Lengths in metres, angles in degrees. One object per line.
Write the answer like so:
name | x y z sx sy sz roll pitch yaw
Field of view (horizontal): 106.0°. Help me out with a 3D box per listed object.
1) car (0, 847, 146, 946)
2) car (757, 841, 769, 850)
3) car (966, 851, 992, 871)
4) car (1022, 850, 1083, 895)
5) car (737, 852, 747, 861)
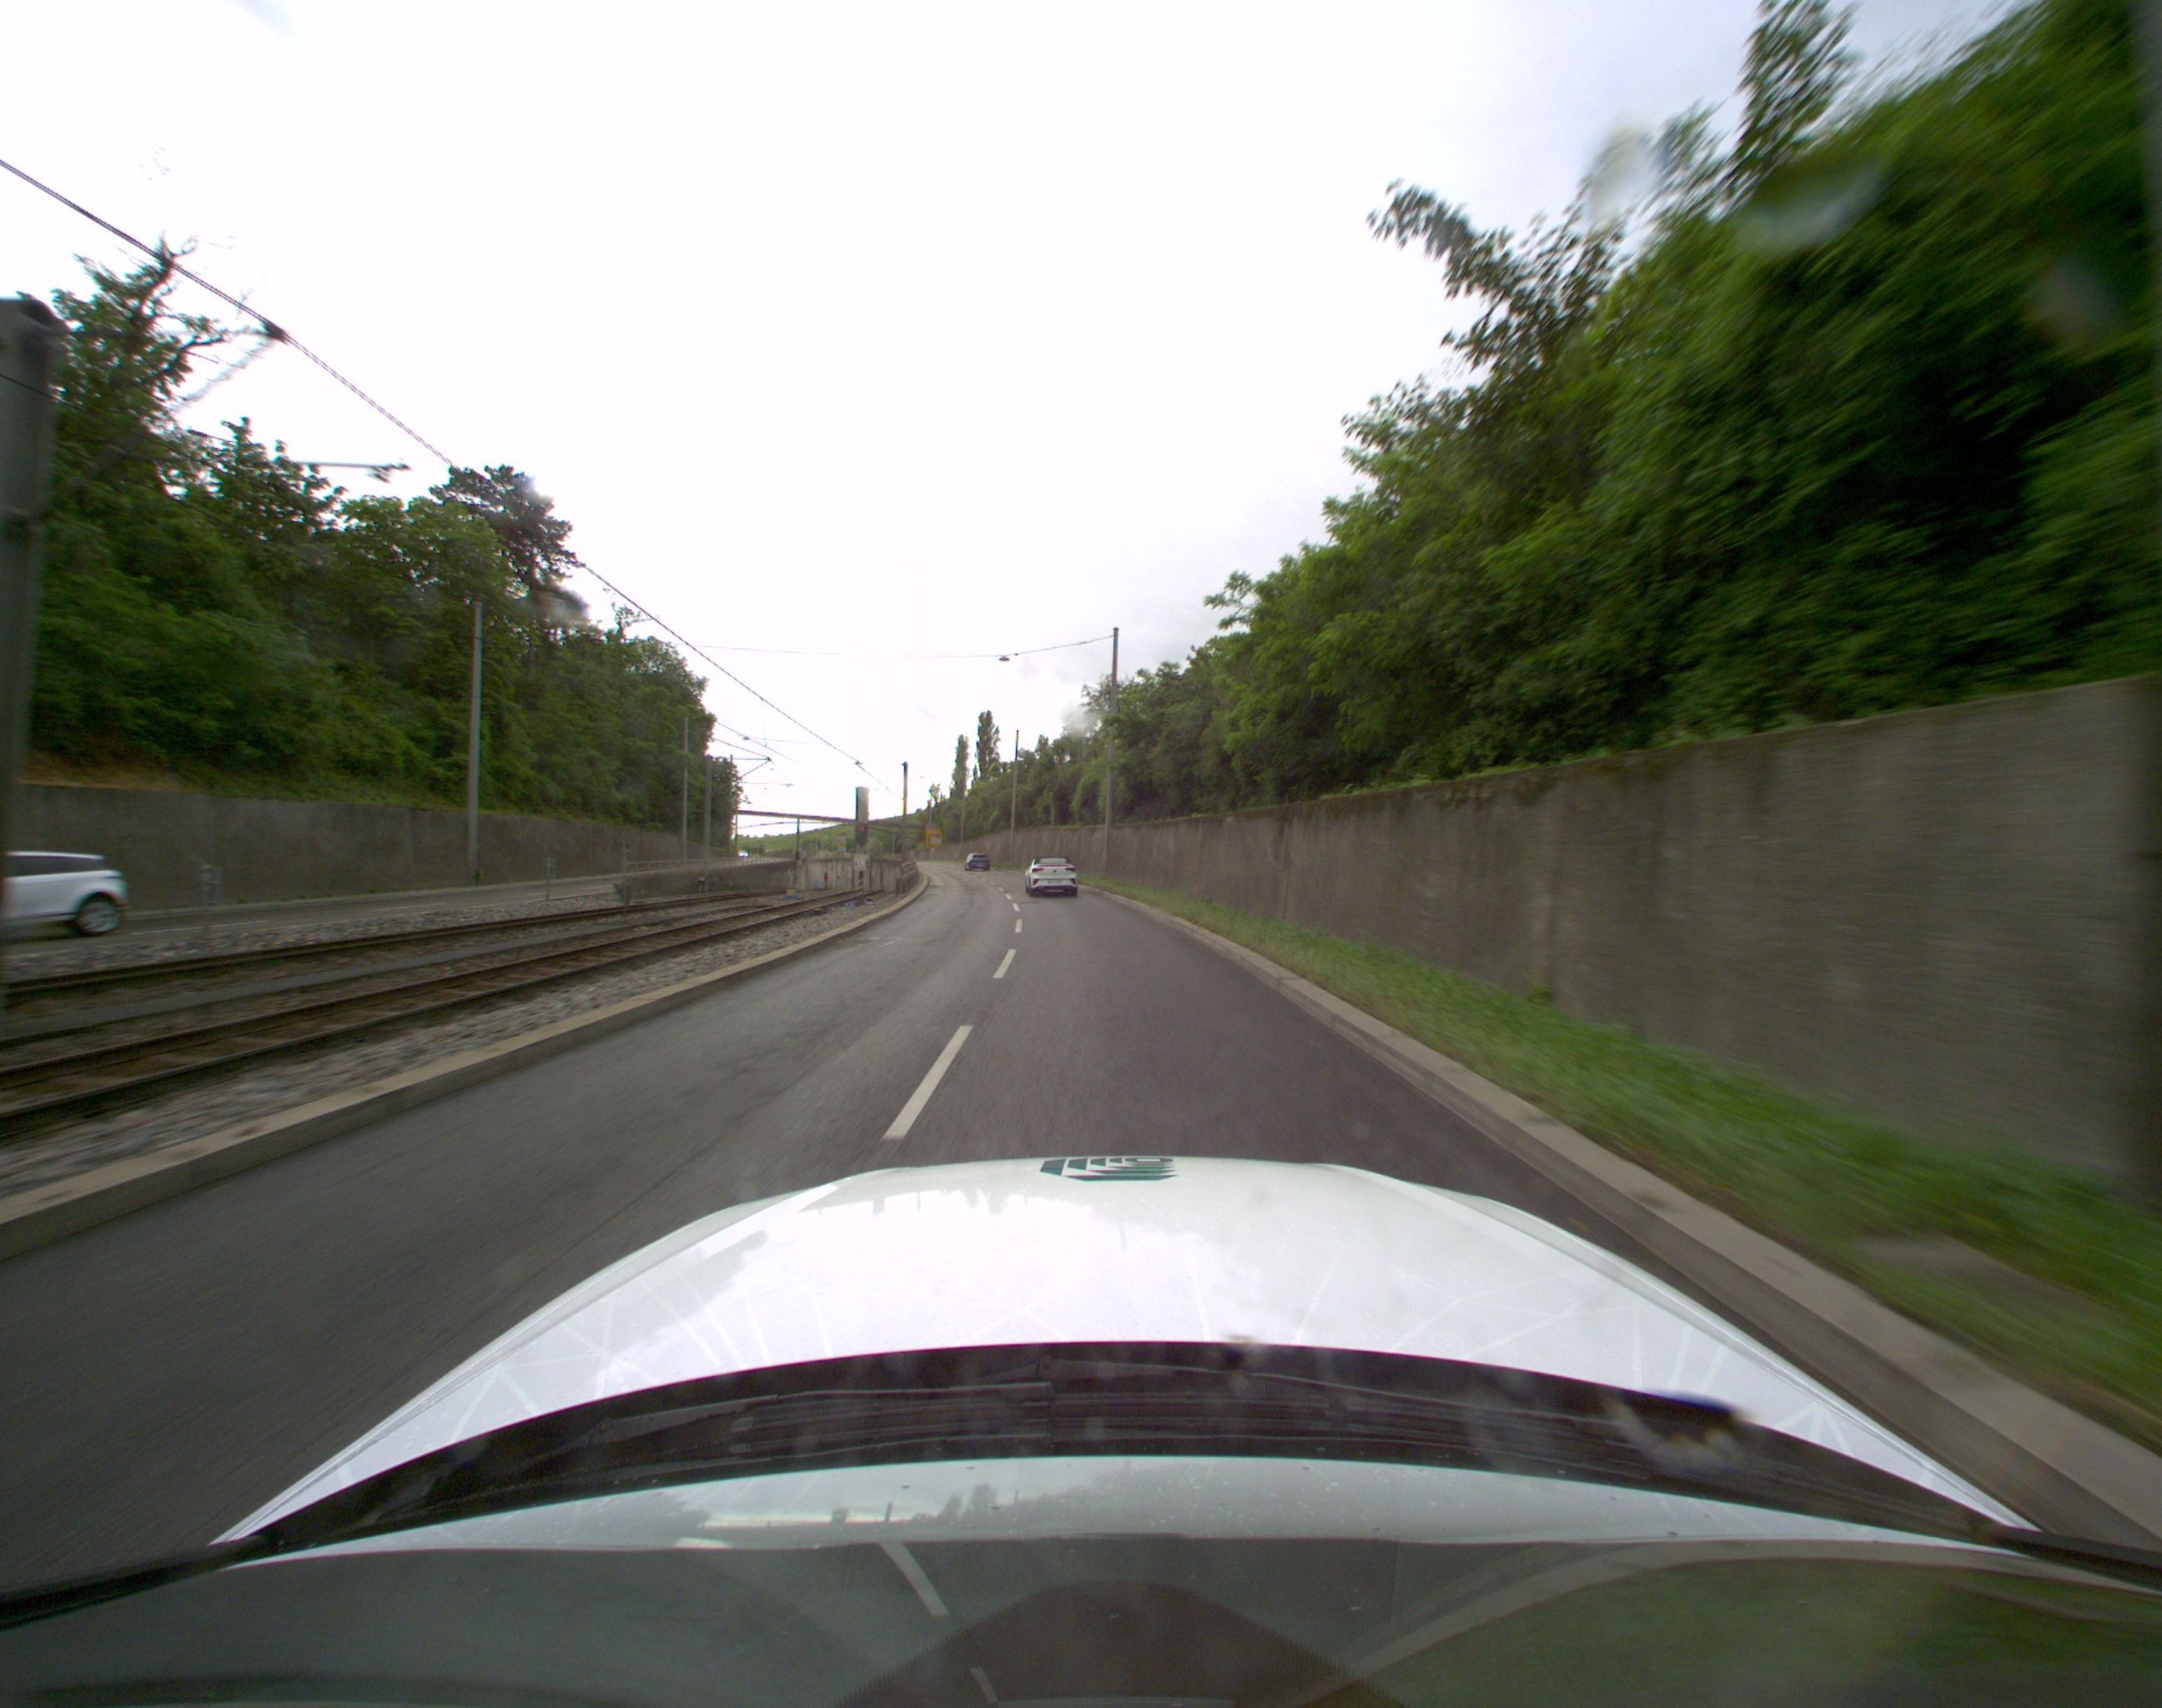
car | -19.279 0.732 13.837 1.932 1.683 4.399 -1 0 -6
car | -63.610 -1.678 163.018 1.970 1.750 4.108 -1 0 -24
car | -8.455 0.528 67.277 1.927 1.599 4.047 -1 0 -10
car | -1.162 0.662 31.131 1.994 1.578 4.115 -1 0 -7
car | -69.579 0.500 167.327 1.825 1.704 4.080 -1 0 -22
